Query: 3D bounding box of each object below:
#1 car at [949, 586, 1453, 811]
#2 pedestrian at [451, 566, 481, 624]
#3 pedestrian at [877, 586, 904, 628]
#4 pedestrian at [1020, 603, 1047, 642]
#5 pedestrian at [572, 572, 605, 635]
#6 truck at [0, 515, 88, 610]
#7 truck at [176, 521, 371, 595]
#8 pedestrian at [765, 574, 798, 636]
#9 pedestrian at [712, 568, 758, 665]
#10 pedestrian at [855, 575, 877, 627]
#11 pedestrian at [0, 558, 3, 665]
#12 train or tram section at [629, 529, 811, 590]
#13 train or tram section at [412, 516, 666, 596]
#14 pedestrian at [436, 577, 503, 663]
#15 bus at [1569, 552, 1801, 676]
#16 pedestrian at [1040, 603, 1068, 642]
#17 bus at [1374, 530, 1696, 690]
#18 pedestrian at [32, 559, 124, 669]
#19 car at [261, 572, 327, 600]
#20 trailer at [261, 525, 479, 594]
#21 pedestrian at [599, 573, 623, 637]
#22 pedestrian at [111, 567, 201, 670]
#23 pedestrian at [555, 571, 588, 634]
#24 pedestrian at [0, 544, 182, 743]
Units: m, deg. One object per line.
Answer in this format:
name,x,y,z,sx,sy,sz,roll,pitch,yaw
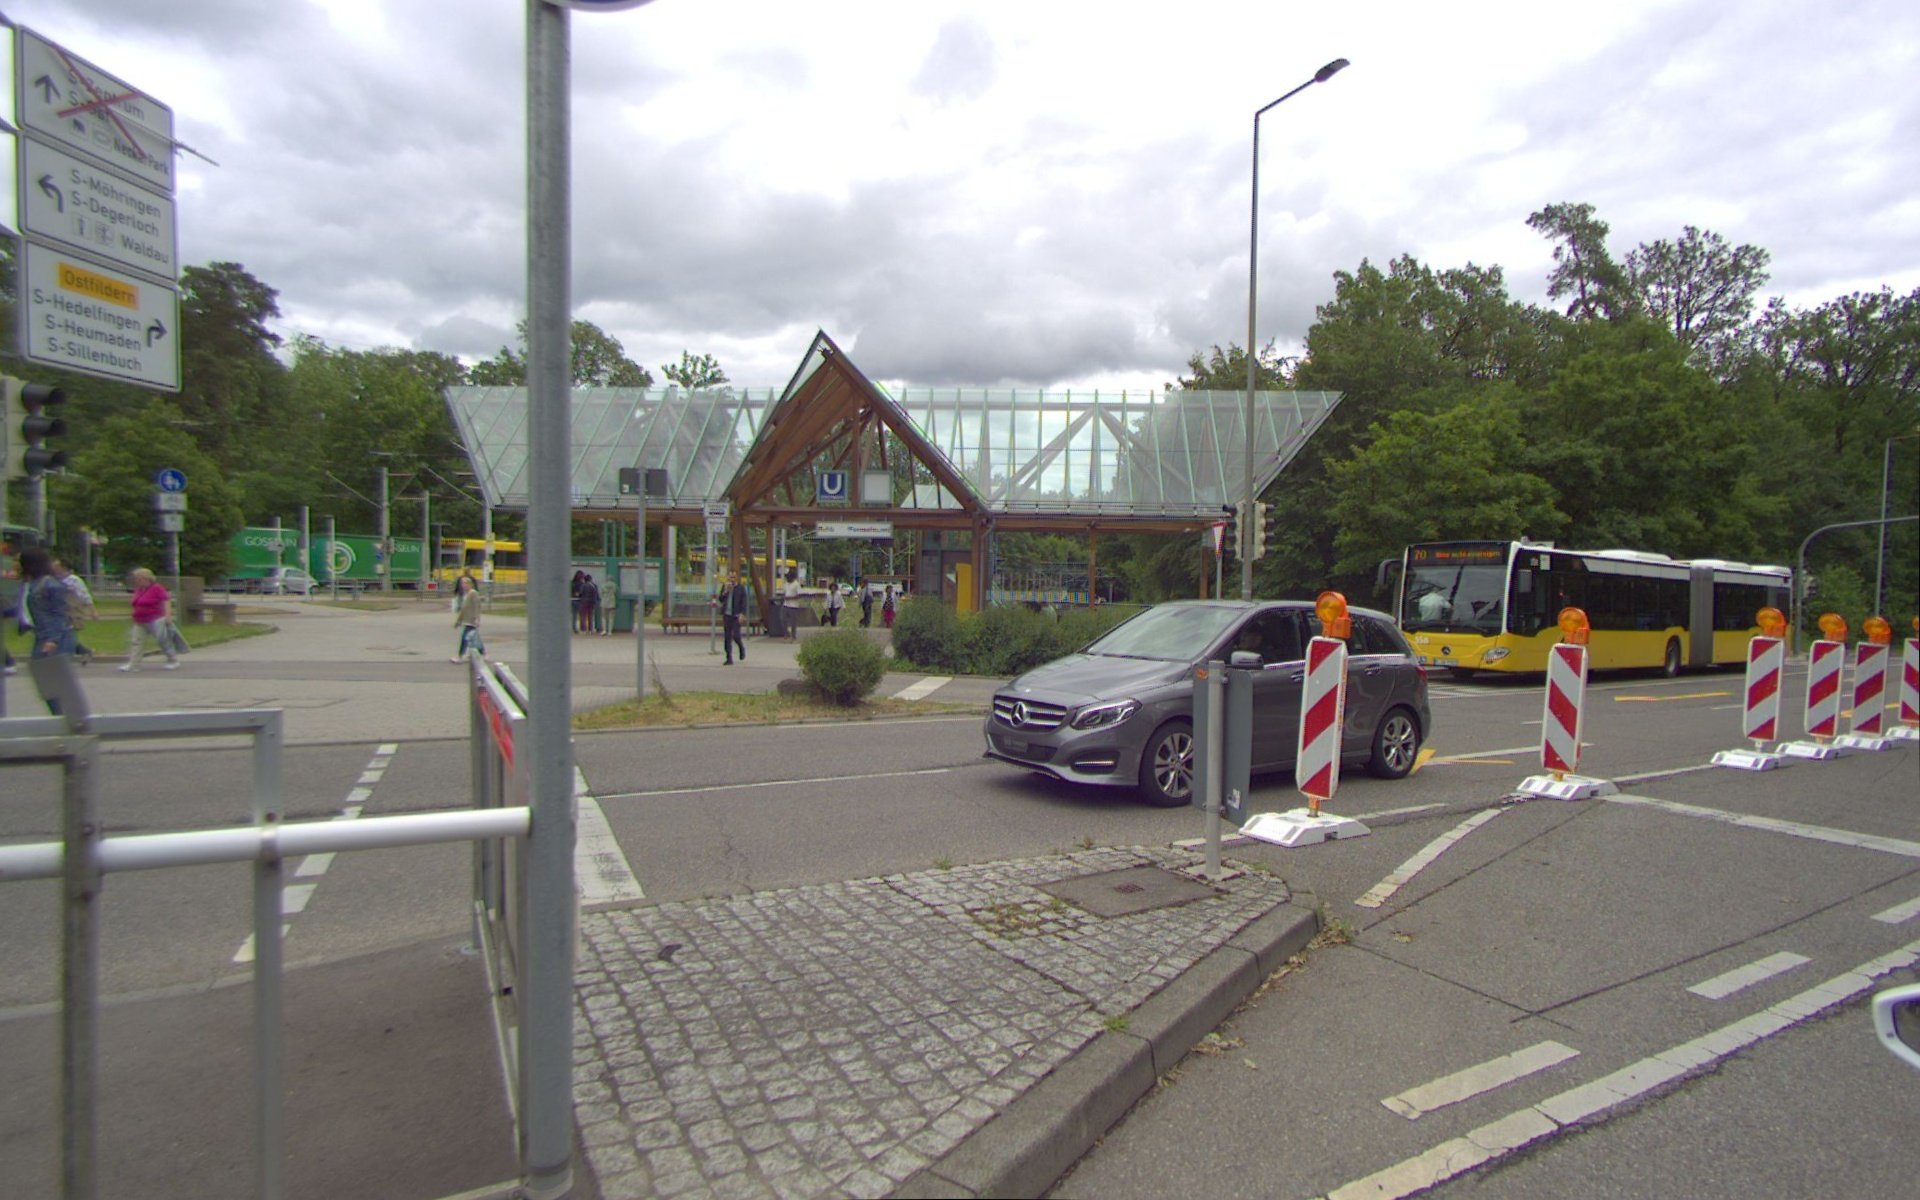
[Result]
car,2.193,0.731,8.750,4.260,1.529,1.798,2,-1,-32
pedestrian,-14.278,-0.146,29.010,0.760,1.647,0.779,0,3,-28
pedestrian,-2.157,0.209,31.376,0.751,1.286,0.393,2,2,5
pedestrian,1.973,0.598,27.039,0.557,0.997,0.547,1,3,-17
pedestrian,-9.931,0.082,26.876,0.572,1.647,0.674,2,2,6
truck,-24.117,-0.912,22.688,2.565,2.200,6.278,3,3,36
truck,-40.008,-2.415,58.968,3.719,3.934,8.757,3,3,28
pedestrian,-4.735,0.130,26.609,0.664,1.618,0.671,0,3,-28
pedestrian,-4.414,0.311,19.754,0.752,1.833,0.993,1,2,-8
pedestrian,-2.944,0.028,31.455,0.597,1.575,0.464,1,2,-9
pedestrian,-14.098,0.178,14.216,0.621,1.566,0.770,2,2,-32
train or tram section,-19.776,-3.359,86.124,3.517,4.595,20.639,3,2,23
train or tram section,-27.523,-2.845,68.018,3.517,4.595,18.670,3,2,23
pedestrian,-9.174,0.357,18.797,0.756,1.545,0.872,4,3,38
bus,21.294,0.400,29.301,8.610,3.169,2.878,1,1,-36
pedestrian,2.536,0.610,27.261,0.557,0.997,0.555,1,3,-18
bus,13.928,0.240,23.886,9.665,3.169,2.878,1,1,-36
pedestrian,-14.084,0.209,16.058,0.672,1.688,0.871,2,2,14
car,-37.437,-0.805,56.538,1.472,1.495,2.740,3,3,28
trailer,-37.220,-2.524,64.160,3.719,3.934,11.849,3,3,28
pedestrian,-9.228,0.122,26.549,0.575,1.647,0.671,1,3,-19
pedestrian,-12.742,0.277,15.940,0.776,1.573,0.775,2,2,3
pedestrian,-10.443,0.066,27.006,0.572,1.647,0.674,2,2,6
pedestrian,-7.927,0.375,9.106,1.075,1.699,0.908,1,1,-14
